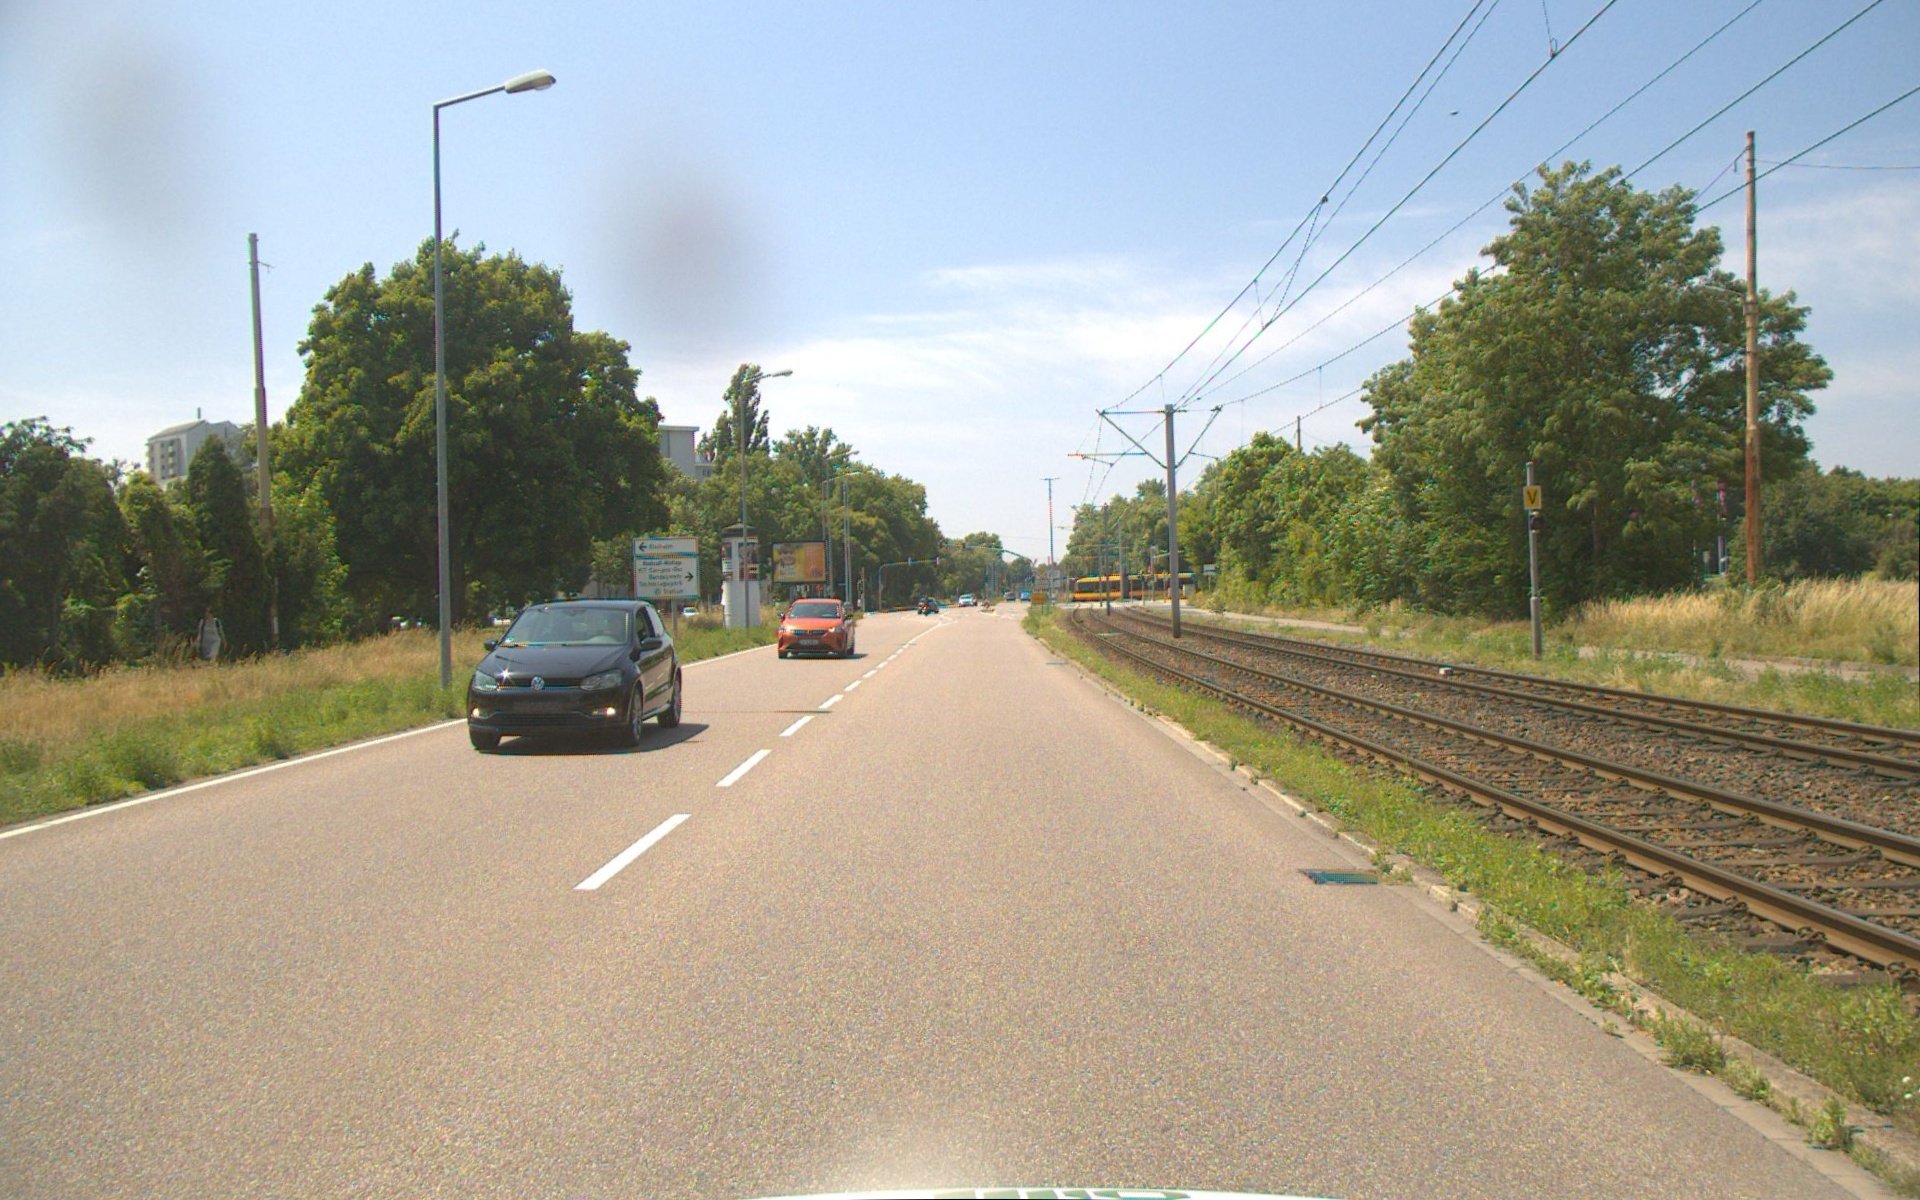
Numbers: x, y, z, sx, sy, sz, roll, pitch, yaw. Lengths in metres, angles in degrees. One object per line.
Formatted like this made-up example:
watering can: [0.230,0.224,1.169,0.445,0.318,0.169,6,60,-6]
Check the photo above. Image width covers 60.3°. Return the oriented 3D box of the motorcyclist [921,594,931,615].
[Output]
motorcyclist: [-2.706,0.339,132.519,0.774,1.671,1.211,-1,0,0]

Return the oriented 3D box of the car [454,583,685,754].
car: [-4.011,0.635,17.582,1.650,1.597,3.966,-1,0,-2]

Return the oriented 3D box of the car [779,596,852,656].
car: [-3.633,0.633,42.035,1.645,1.423,3.998,-1,0,-2]

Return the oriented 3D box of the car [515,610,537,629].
car: [-44.402,1.994,169.255,1.819,1.741,3.976,-1,1,-20]

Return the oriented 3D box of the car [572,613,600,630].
car: [-38.666,2.238,170.959,1.825,1.697,3.963,-2,0,-28]

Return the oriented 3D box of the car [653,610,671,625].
car: [-31.263,1.864,173.394,1.590,1.489,3.985,-1,0,-14]

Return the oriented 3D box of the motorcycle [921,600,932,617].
motorcycle: [-2.699,0.663,132.552,0.829,1.277,2.449,-1,0,0]

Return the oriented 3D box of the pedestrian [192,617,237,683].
pedestrian: [-16.066,1.076,35.663,0.569,1.378,0.799,-1,0,2]

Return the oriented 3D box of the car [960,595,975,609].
car: [0.947,0.183,206.870,1.747,1.657,3.866,-2,0,2]

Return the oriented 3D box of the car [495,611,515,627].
car: [-46.201,1.913,168.011,1.663,1.589,3.816,-2,0,-20]

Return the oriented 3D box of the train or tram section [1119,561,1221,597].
train or tram section: [27.872,-2.769,220.379,13.674,3.988,2.914,-3,-3,34]

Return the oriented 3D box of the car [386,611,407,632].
car: [-55.859,2.139,163.946,1.819,1.982,3.976,-1,0,-20]

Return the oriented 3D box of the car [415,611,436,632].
car: [-53.131,2.093,164.429,1.819,1.982,3.976,-1,0,-20]

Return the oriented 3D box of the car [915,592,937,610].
car: [-3.013,0.092,149.081,1.867,1.525,4.630,-1,0,0]

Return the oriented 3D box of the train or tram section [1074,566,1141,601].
train or tram section: [20.331,-2.237,229.586,2.876,3.988,13.936,0,-3,-24]
